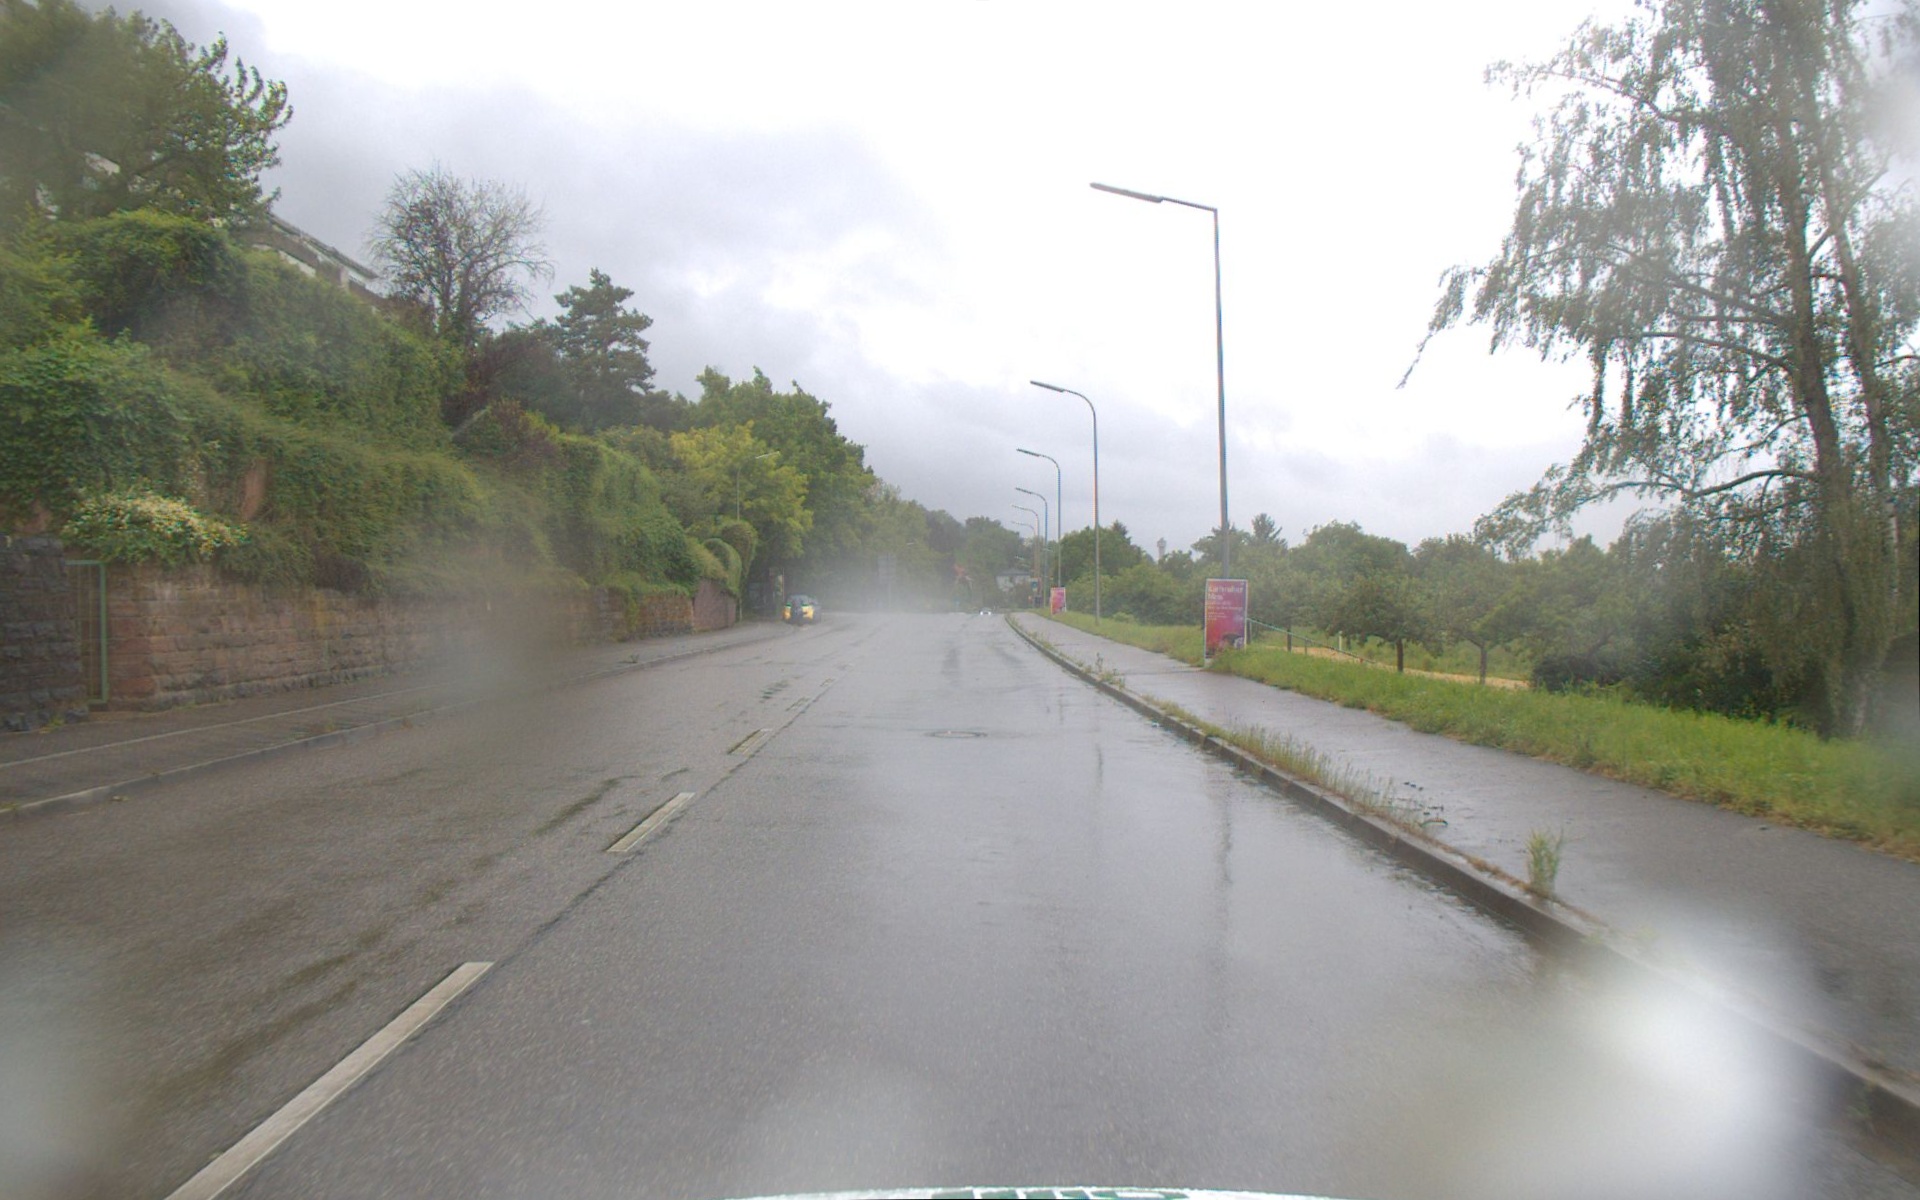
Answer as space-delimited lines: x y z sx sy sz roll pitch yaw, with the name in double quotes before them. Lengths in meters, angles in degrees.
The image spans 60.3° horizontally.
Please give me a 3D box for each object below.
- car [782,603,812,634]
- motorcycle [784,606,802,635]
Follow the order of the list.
"car" -8.507 0.935 86.088 1.406 1.564 2.814 -2 0 -8
"motorcycle" -8.041 0.986 79.565 0.821 1.364 2.496 -1 0 -6
